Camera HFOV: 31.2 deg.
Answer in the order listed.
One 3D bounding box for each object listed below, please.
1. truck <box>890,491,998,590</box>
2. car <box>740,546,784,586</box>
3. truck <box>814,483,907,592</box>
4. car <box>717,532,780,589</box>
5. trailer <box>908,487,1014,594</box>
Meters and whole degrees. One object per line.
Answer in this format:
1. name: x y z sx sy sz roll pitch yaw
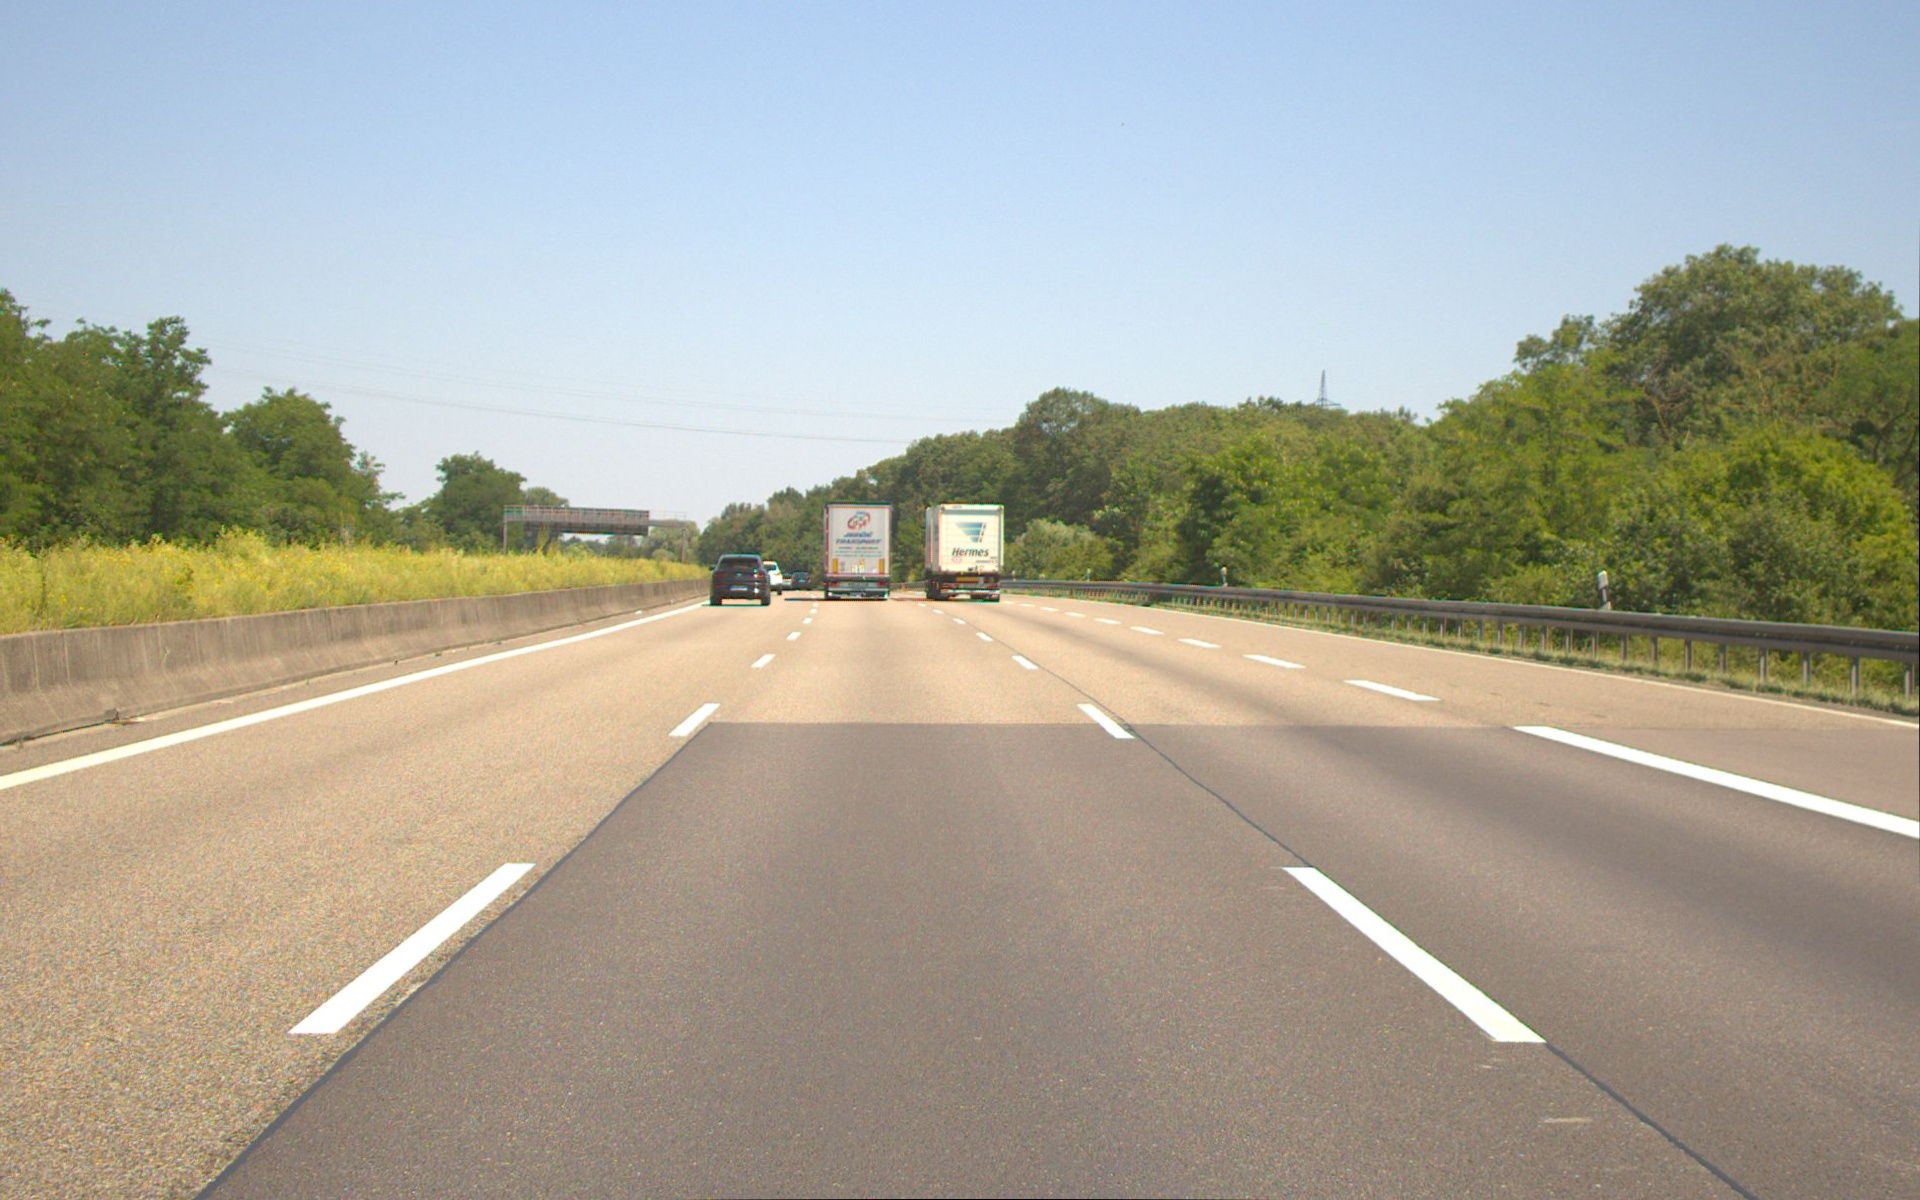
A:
1. truck: -0.757 -2.585 147.462 3.325 4.039 10.956 1 1 -7
2. car: -9.879 -1.697 171.417 1.993 1.868 4.001 2 1 -6
3. truck: -4.066 -2.521 138.525 3.229 4.187 8.467 1 1 -5
4. car: -7.154 -1.354 116.723 1.993 1.868 4.001 1 1 -2
5. trailer: -0.016 -2.444 139.639 3.367 4.128 9.093 1 1 -6
